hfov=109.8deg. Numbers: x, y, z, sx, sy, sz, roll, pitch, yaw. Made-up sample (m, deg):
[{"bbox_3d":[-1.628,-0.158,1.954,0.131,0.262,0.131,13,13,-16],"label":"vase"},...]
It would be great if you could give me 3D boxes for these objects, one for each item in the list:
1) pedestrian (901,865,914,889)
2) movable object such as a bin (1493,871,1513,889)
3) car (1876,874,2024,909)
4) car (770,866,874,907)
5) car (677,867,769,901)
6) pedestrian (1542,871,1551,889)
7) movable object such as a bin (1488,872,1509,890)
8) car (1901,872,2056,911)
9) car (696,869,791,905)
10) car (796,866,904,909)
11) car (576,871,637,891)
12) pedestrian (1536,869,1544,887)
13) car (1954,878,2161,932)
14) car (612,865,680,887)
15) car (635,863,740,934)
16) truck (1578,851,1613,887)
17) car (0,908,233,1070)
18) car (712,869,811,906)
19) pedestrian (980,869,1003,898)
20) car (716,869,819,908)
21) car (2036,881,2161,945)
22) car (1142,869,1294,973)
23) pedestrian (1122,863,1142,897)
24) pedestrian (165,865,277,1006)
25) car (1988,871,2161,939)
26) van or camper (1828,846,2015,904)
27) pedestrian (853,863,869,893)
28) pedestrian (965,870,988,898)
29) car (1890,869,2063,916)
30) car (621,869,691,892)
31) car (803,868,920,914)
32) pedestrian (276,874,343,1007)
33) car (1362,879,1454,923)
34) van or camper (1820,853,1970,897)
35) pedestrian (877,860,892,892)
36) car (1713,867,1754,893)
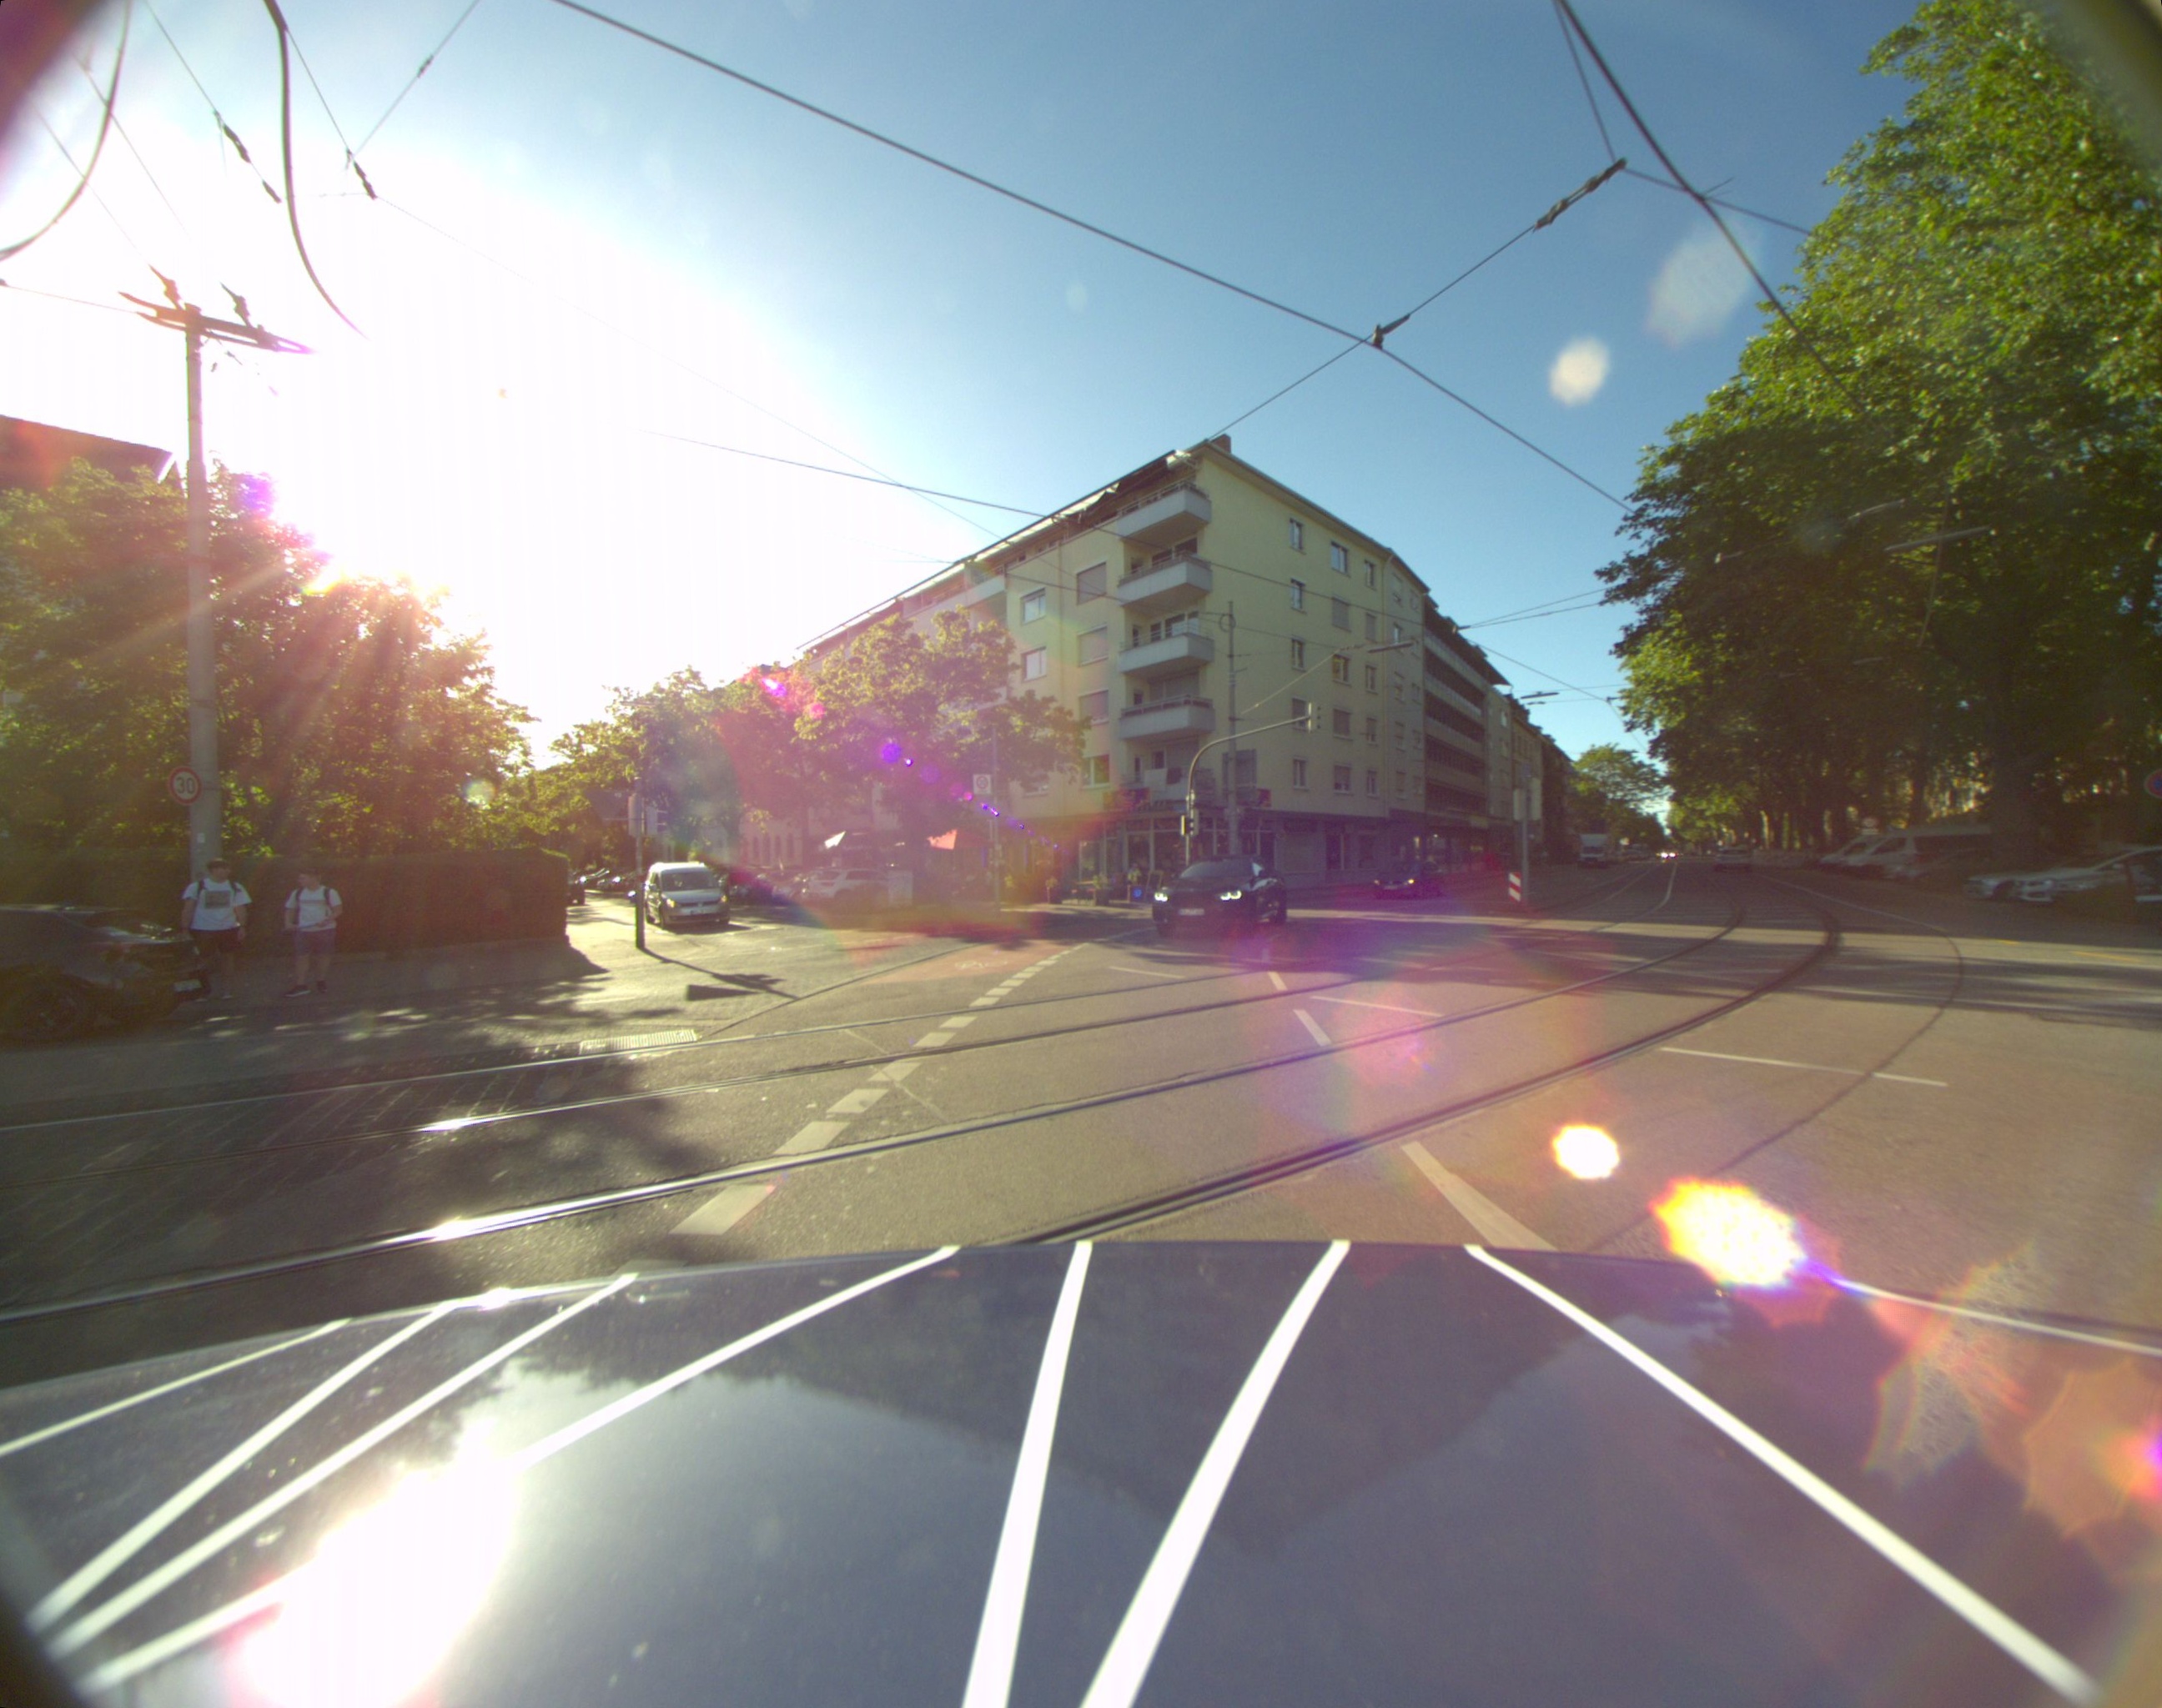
[{"bbox_3d":[-10.072,1.338,44.126,0.572,1.352,0.672,-1,0,-31],"label":"pedestrian"},{"bbox_3d":[34.980,2.151,62.939,1.201,1.402,1.375,0,0,41],"label":"movable object such as a bin"},{"bbox_3d":[39.825,1.707,34.988,4.268,1.438,1.697,-3,-1,42],"label":"car"},{"bbox_3d":[-11.168,1.374,32.873,1.711,1.608,3.879,-1,0,44],"label":"car"},{"bbox_3d":[-18.260,1.487,38.893,1.711,1.608,3.879,-1,0,44],"label":"car"},{"bbox_3d":[42.353,2.359,69.128,0.539,1.662,0.632,0,0,41],"label":"pedestrian"},{"bbox_3d":[33.673,2.172,61.332,1.201,1.401,1.375,-1,-1,41],"label":"movable object such as a bin"},{"bbox_3d":[36.400,1.526,30.969,3.853,1.438,1.697,-3,-1,42],"label":"car"},{"bbox_3d":[-16.531,1.586,37.300,1.711,1.608,3.879,-1,0,44],"label":"car"},{"bbox_3d":[-9.514,1.338,31.486,1.711,1.608,3.913,-1,0,44],"label":"car"},{"bbox_3d":[-38.122,2.134,61.099,1.711,1.471,3.879,-1,0,44],"label":"car"},{"bbox_3d":[42.923,2.255,71.110,0.539,1.711,0.632,0,0,41],"label":"pedestrian"},{"bbox_3d":[28.680,1.444,22.119,4.072,1.360,1.848,-3,-1,42],"label":"car"},{"bbox_3d":[-31.171,1.538,54.512,1.711,1.471,3.879,-1,0,44],"label":"car"},{"bbox_3d":[-11.725,1.216,22.489,1.809,1.803,4.178,-4,2,-40],"label":"car"},{"bbox_3d":[47.148,1.347,69.633,2.339,3.095,5.223,-2,0,37],"label":"truck"},{"bbox_3d":[-11.825,1.384,7.672,3.945,1.432,1.802,0,0,-26],"label":"car"},{"bbox_3d":[-14.910,1.524,35.582,1.711,1.608,3.879,-1,0,44],"label":"car"},{"bbox_3d":[-3.829,1.242,32.455,0.662,1.211,0.738,-1,0,-44],"label":"pedestrian"},{"bbox_3d":[-13.972,1.492,33.982,1.711,1.608,3.879,-1,0,44],"label":"car"},{"bbox_3d":[25.914,1.367,17.857,3.989,1.408,1.707,-2,0,36],"label":"car"},{"bbox_3d":[3.167,1.307,16.691,1.927,1.742,4.692,1,1,28],"label":"car"},{"bbox_3d":[2.025,1.018,30.209,0.608,1.334,0.492,-1,0,-42],"label":"pedestrian"},{"bbox_3d":[-11.703,1.077,10.361,0.701,1.835,0.704,-1,0,-8],"label":"pedestrian"},{"bbox_3d":[27.158,1.307,19.923,4.072,1.602,1.848,-2,-1,42],"label":"car"},{"bbox_3d":[41.117,1.037,37.472,5.920,2.633,2.160,-2,0,41],"label":"van or camper"},{"bbox_3d":[-12.823,1.387,44.355,0.724,1.698,0.538,-1,0,-38],"label":"pedestrian"},{"bbox_3d":[-4.572,1.317,33.309,0.662,1.211,0.738,-1,0,-44],"label":"pedestrian"},{"bbox_3d":[34.330,1.470,29.320,4.072,1.609,1.848,-2,-1,42],"label":"car"},{"bbox_3d":[-29.410,1.789,52.586,1.711,1.471,3.879,-1,0,44],"label":"car"},{"bbox_3d":[-8.418,1.368,29.372,1.705,1.572,4.044,-1,0,44],"label":"car"},{"bbox_3d":[-10.963,1.188,10.797,0.699,1.782,0.619,0,0,41],"label":"pedestrian"},{"bbox_3d":[12.536,1.740,29.017,1.927,1.397,3.948,-2,-1,44],"label":"car"},{"bbox_3d":[47.418,1.242,44.492,5.751,2.370,2.160,-2,0,41],"label":"van or camper"},{"bbox_3d":[-11.147,1.220,43.104,0.675,1.800,0.538,-1,0,-38],"label":"pedestrian"},{"bbox_3d":[43.973,1.743,51.251,1.994,1.622,4.641,-1,0,40],"label":"car"}]
